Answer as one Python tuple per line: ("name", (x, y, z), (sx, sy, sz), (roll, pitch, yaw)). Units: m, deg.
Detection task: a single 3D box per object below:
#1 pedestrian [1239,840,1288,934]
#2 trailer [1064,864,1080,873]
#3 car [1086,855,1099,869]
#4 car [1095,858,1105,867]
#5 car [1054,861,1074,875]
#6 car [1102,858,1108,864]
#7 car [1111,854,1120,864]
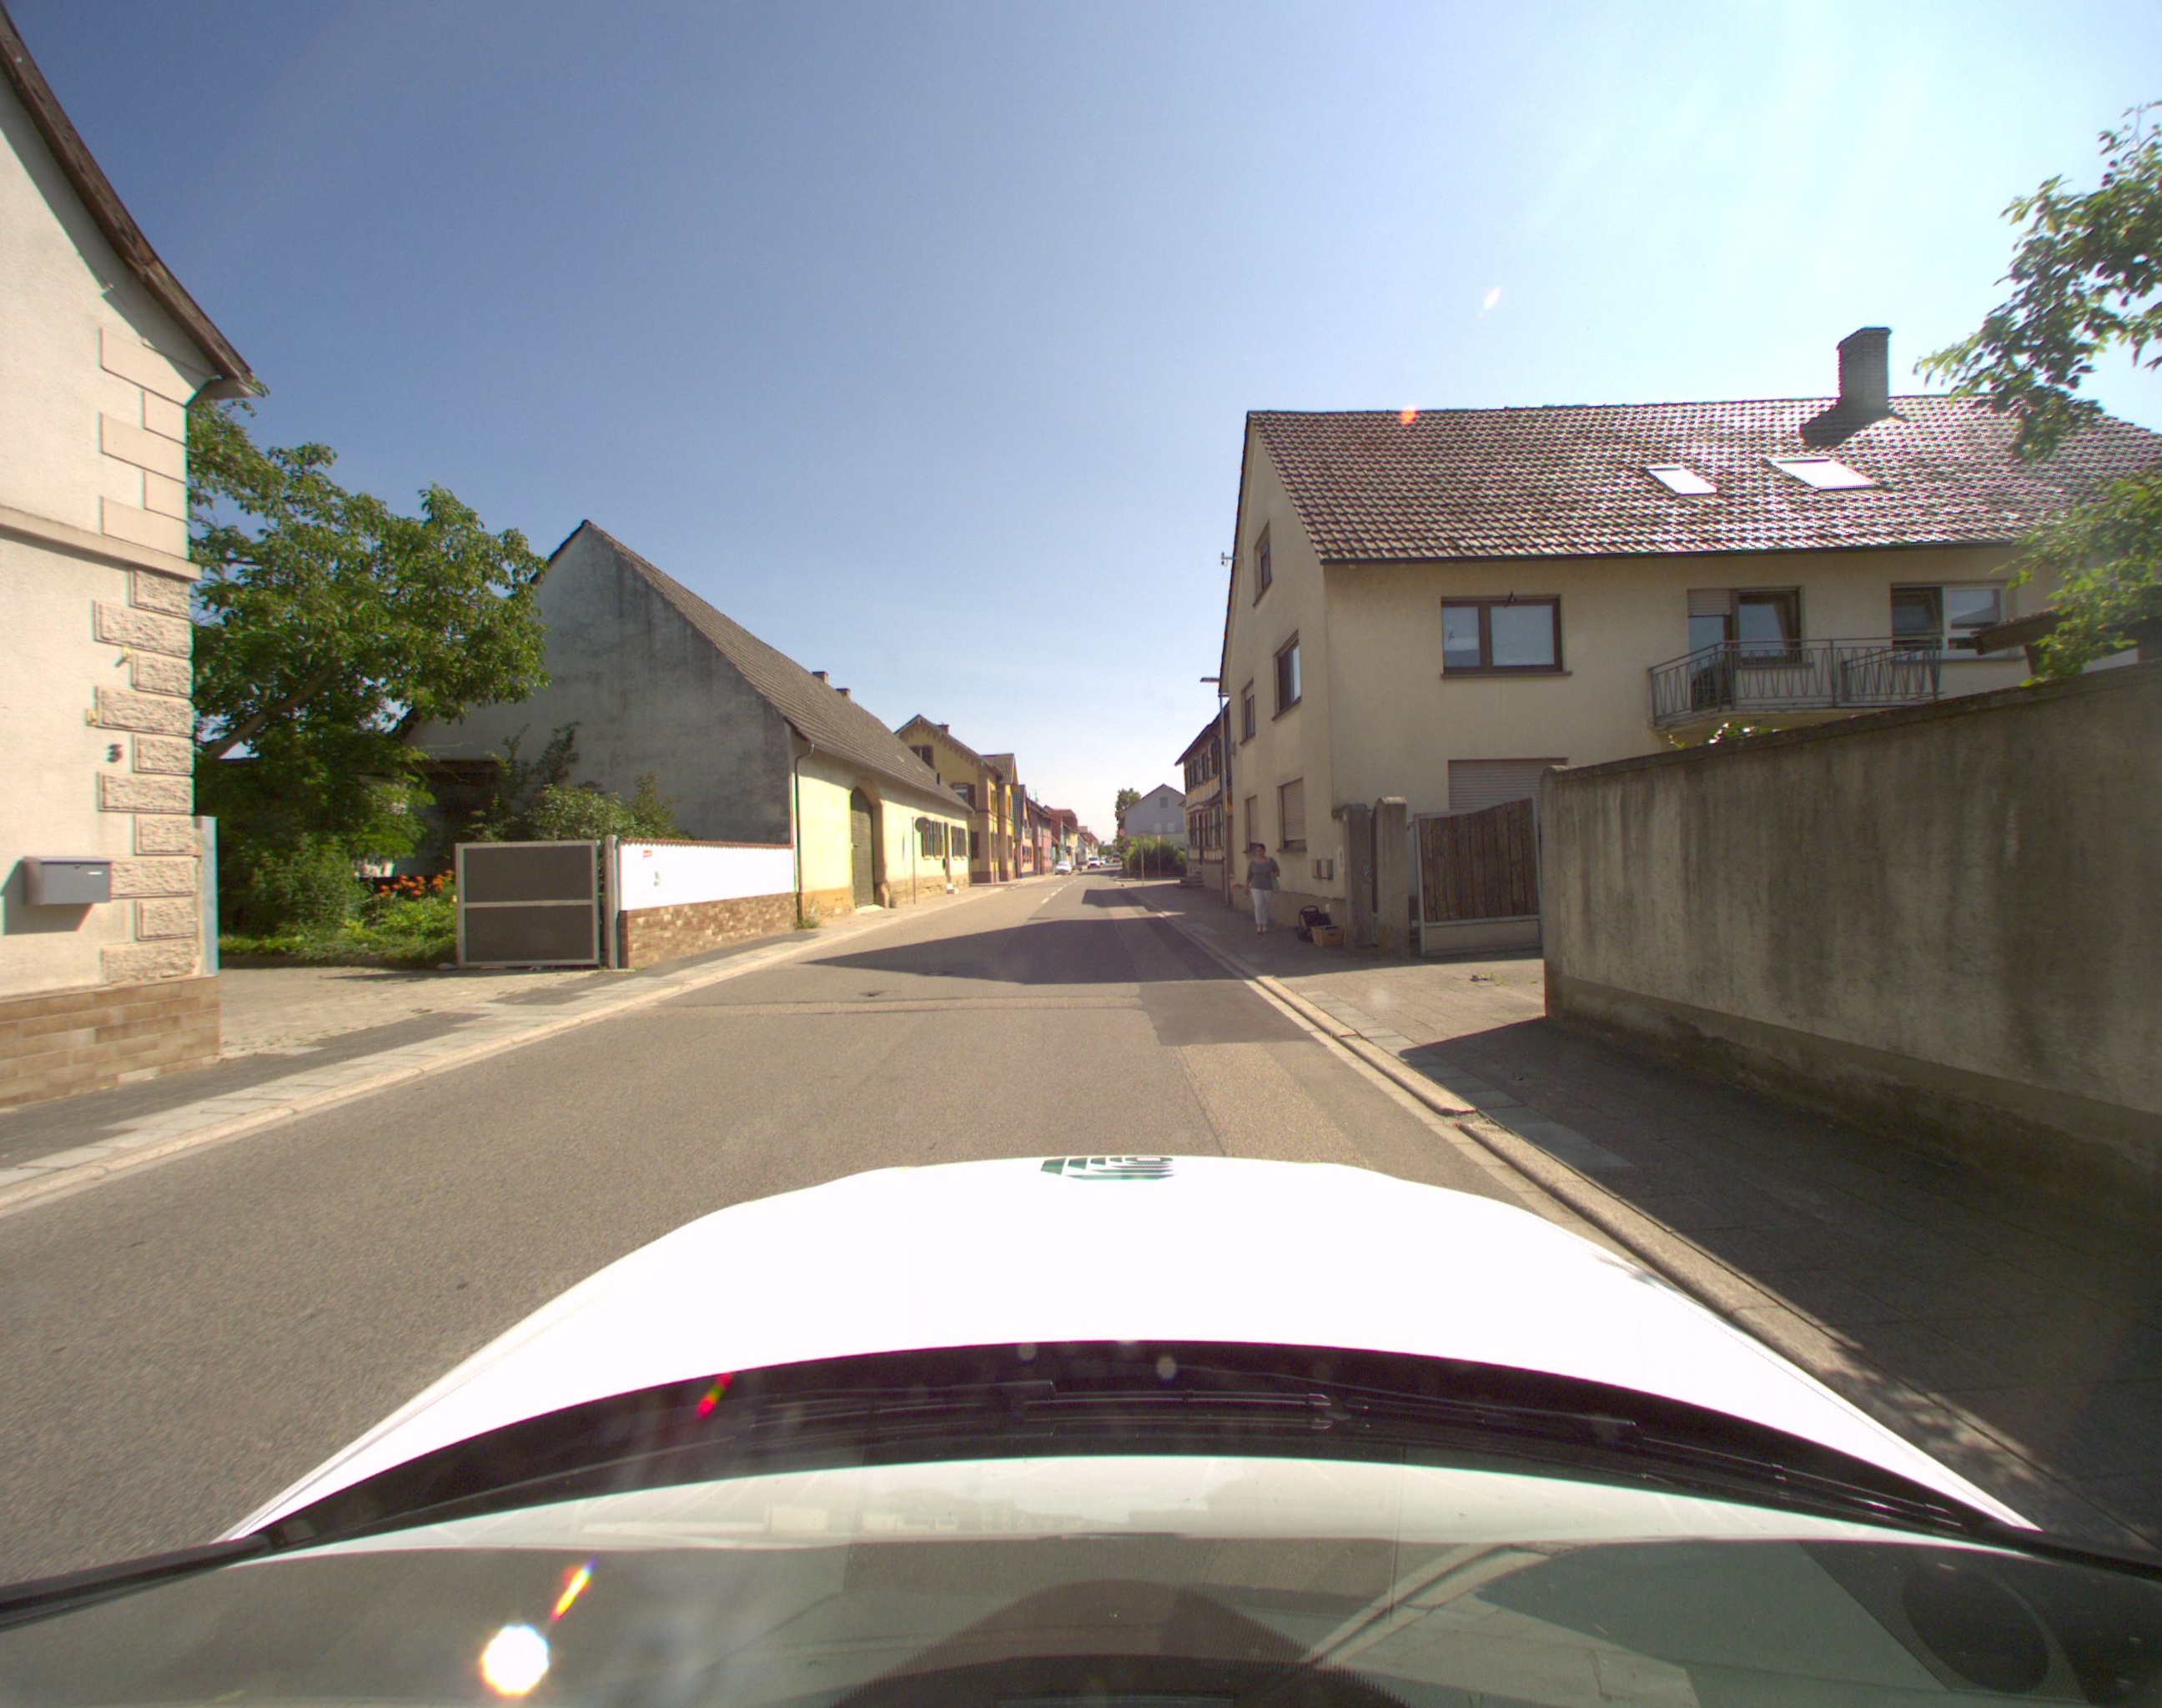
("pedestrian", (3.341, 0.586, 14.970), (0.715, 1.664, 0.893), (-1, 0, 4))
("trailer", (-1.199, 2.005, 109.934), (1.987, 1.090, 4.000), (-1, 0, 0))
("car", (1.871, 1.314, 133.522), (2.151, 2.080, 3.999), (-2, -2, 0))
("car", (4.195, 1.890, 180.590), (1.986, 1.750, 4.001), (-1, 0, 2))
("car", (-1.921, 1.613, 93.244), (1.986, 1.442, 4.001), (-2, 0, 1))
("car", (7.133, 2.063, 243.395), (1.861, 1.544, 3.838), (-3, 0, 1))
("car", (9.137, 1.203, 215.726), (2.010, 2.567, 4.000), (-2, 0, 1))
